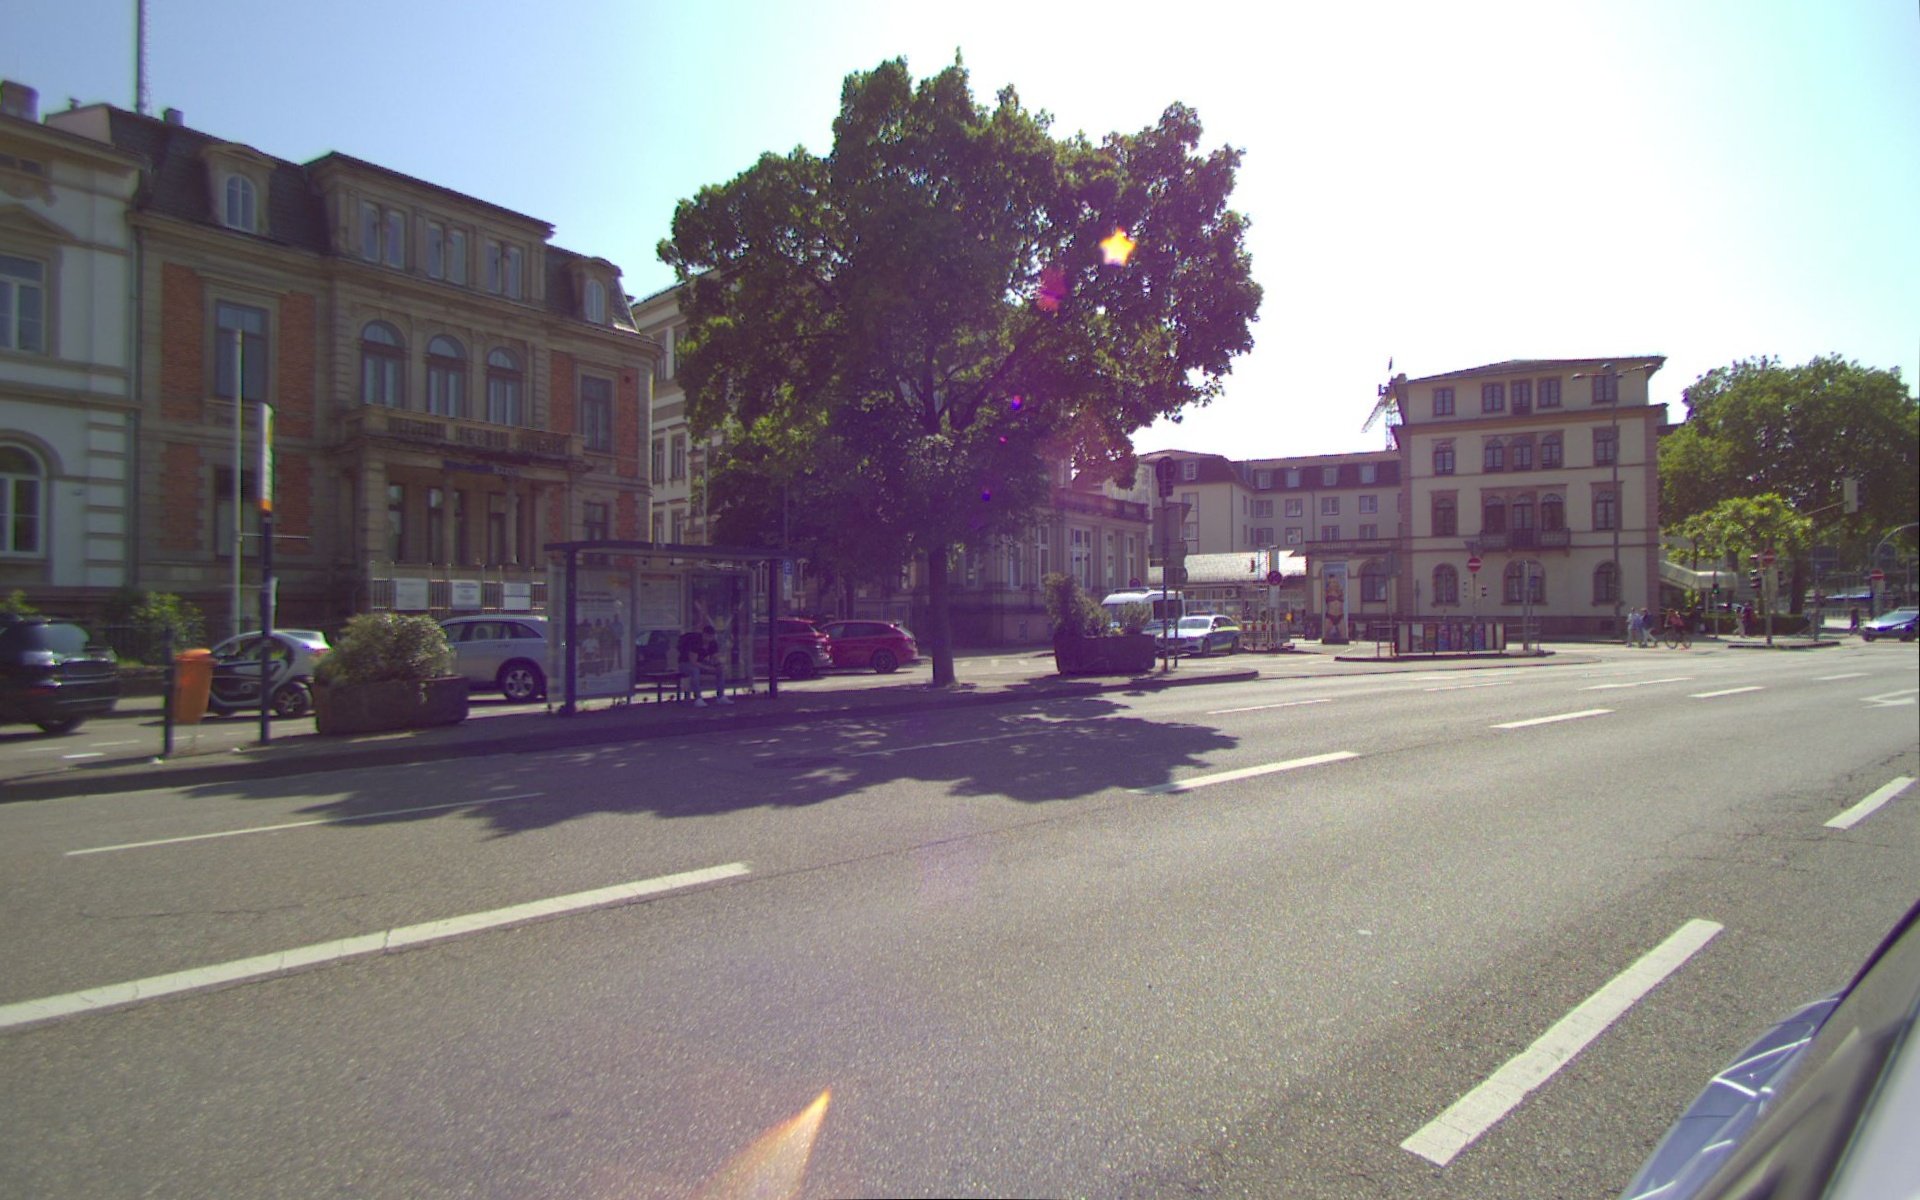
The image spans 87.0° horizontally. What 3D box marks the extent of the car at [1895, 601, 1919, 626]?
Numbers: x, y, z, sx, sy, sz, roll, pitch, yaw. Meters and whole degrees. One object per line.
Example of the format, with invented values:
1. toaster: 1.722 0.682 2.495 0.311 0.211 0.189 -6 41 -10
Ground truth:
1. car: 62.174 0.879 65.545 1.780 1.545 3.925 1 0 34

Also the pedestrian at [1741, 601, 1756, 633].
1. pedestrian: 42.019 0.897 53.954 0.531 1.670 0.574 -1 -1 30

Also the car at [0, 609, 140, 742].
1. car: -13.981 1.001 13.726 4.188 1.718 1.715 -1 -1 -6

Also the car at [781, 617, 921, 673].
1. car: -2.922 1.206 27.708 3.630 1.436 1.749 -1 -1 0

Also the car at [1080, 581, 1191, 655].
1. car: 6.793 0.675 38.640 1.988 2.637 5.247 -2 -1 37

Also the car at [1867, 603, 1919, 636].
1. car: 43.820 0.880 46.287 3.890 1.470 1.796 0 0 -19

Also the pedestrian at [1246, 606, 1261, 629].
1. pedestrian: 20.361 1.200 70.267 0.707 1.624 0.723 1 -2 -41

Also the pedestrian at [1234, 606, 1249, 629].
1. pedestrian: 19.460 1.205 69.852 0.707 1.624 0.723 1 -2 -43

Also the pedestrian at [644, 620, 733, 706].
1. pedestrian: -4.004 0.902 14.934 1.011 1.213 0.785 -1 -1 26

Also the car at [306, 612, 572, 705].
1. car: -9.890 1.083 19.468 4.230 1.650 1.715 -1 -1 -4

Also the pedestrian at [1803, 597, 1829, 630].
1. pedestrian: 44.850 0.699 53.041 0.835 1.717 0.738 -1 -1 26

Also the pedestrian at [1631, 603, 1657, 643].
1. pedestrian: 28.995 0.959 42.886 0.816 1.681 0.752 1 -2 -44

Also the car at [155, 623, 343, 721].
1. car: -11.665 1.157 16.703 2.241 1.502 1.203 0 -1 -10

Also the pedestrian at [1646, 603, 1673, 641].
1. pedestrian: 29.938 0.928 43.294 0.815 1.592 0.771 1 -2 -43

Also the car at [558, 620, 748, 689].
1. car: -6.732 1.177 22.421 3.748 1.435 1.605 -1 -1 0

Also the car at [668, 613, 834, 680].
1. car: -5.187 1.134 25.451 3.804 1.595 1.749 -1 -1 0

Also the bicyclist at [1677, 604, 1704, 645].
1. bicyclist: 29.590 0.990 40.980 0.670 1.627 0.594 0 -1 -25

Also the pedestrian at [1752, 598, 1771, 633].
1. pedestrian: 43.138 0.829 54.465 0.721 1.828 0.645 -1 -1 34

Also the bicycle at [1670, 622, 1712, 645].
1. bicycle: 29.606 1.348 40.977 1.708 0.866 0.594 0 -1 -25

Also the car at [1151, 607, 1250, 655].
1. car: 8.856 1.073 36.918 1.811 1.647 4.816 -1 -1 36

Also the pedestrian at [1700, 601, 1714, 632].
1. pedestrian: 41.490 0.914 56.197 0.530 1.670 0.667 -1 -1 30

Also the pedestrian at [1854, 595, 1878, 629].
1. pedestrian: 49.897 0.661 55.728 0.716 1.869 0.591 -1 -1 5
